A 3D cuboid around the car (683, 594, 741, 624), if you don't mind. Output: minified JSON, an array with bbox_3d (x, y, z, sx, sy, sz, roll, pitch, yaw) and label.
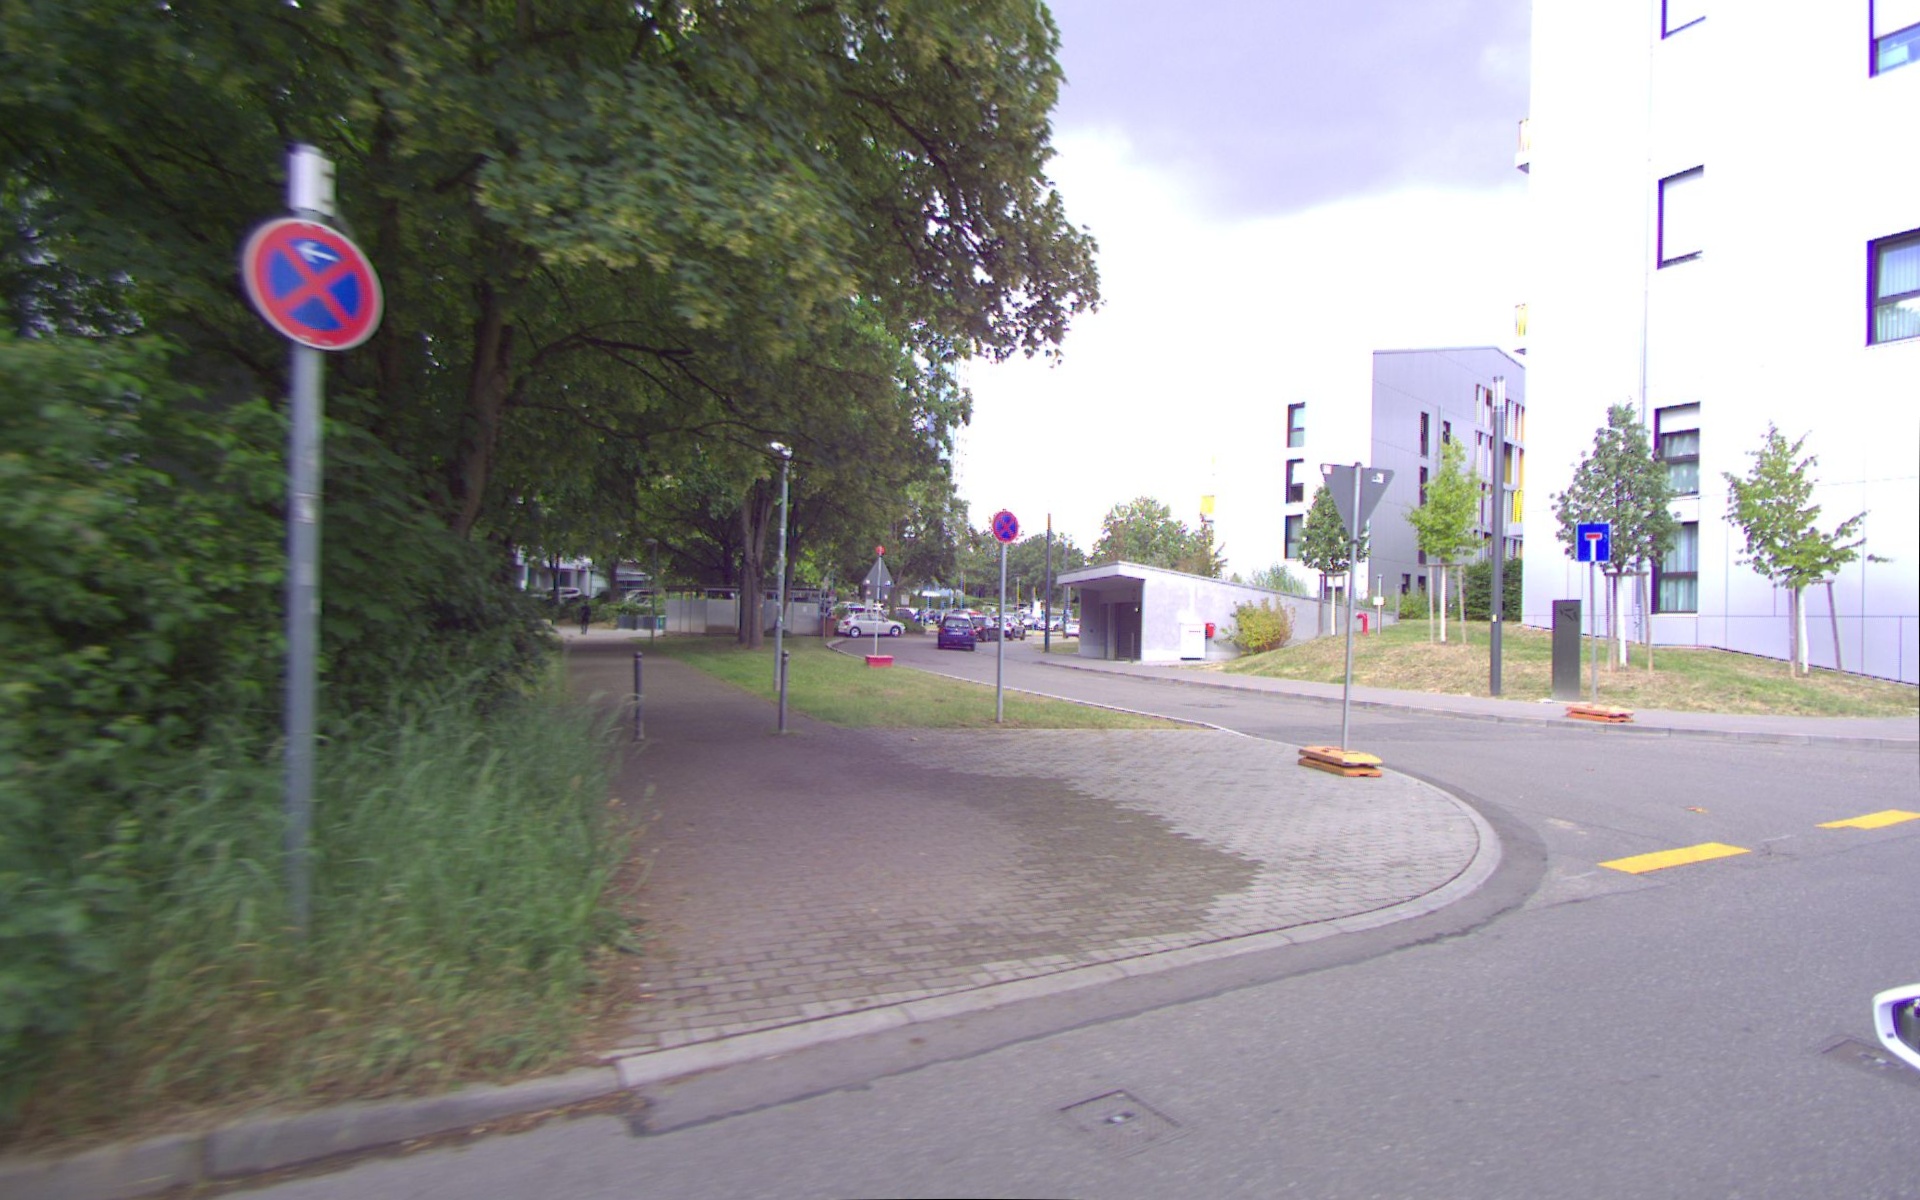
[{"bbox_3d":[-17.124,0.634,69.386,3.589,1.981,1.483,2,-1,-38],"label":"car"}]

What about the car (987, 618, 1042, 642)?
[{"bbox_3d":[3.335,1.850,61.211,1.802,1.390,3.613,1,-1,32],"label":"car"}]

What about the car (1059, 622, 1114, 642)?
[{"bbox_3d":[9.260,2.332,73.404,3.561,1.390,1.828,2,-1,-15],"label":"car"}]

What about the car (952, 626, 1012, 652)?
[{"bbox_3d":[1.286,2.184,56.756,1.802,1.390,3.613,1,-1,32],"label":"car"}]

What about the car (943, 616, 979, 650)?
[{"bbox_3d":[0.035,1.433,44.008,1.469,1.390,3.622,1,-1,-1],"label":"car"}]

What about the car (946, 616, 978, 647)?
[{"bbox_3d":[0.066,1.489,48.252,1.469,1.390,3.622,1,-1,-1],"label":"car"}]

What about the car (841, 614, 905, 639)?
[{"bbox_3d":[-5.220,1.587,60.132,3.565,1.390,1.493,2,-1,-19],"label":"car"}]

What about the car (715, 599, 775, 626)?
[{"bbox_3d":[-14.251,0.847,66.768,3.589,1.685,1.483,2,-1,-38],"label":"car"}]
